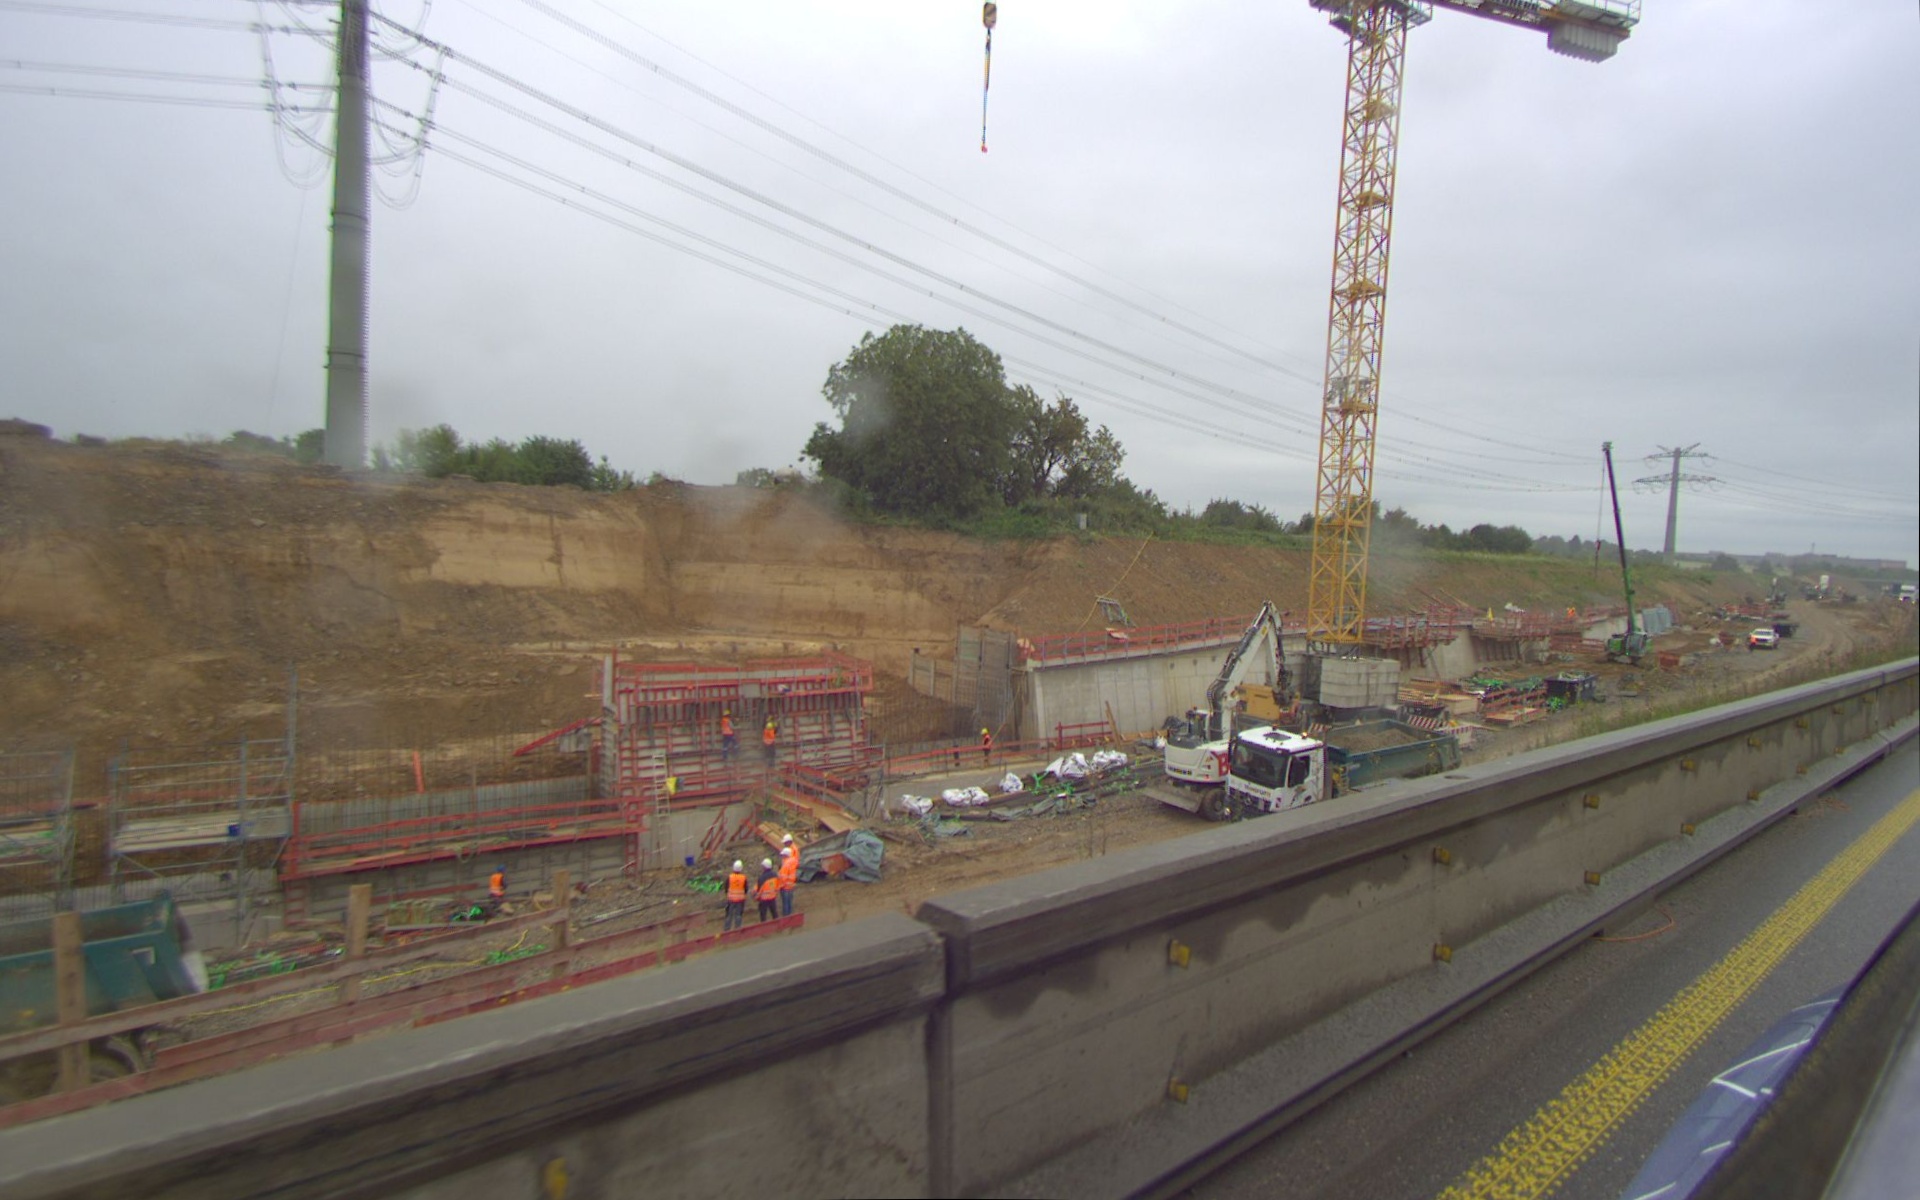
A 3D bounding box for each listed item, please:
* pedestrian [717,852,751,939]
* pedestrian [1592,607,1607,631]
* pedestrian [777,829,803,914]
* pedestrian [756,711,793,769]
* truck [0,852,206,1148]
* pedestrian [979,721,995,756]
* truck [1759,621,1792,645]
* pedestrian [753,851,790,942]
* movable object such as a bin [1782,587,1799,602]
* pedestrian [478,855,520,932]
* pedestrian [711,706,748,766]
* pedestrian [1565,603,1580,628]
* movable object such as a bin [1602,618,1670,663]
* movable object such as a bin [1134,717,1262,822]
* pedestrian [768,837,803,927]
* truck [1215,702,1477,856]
[{"bbox_3d":[-5.448,7.101,24.379,0.720,1.893,0.576,0,0,-4],"label":"pedestrian"},{"bbox_3d":[62.415,1.839,98.767,0.989,2.260,0.916,-2,-3,-41],"label":"pedestrian"},{"bbox_3d":[-4.366,6.968,26.060,0.564,1.968,0.736,0,0,-3],"label":"pedestrian"},{"bbox_3d":[-6.970,5.252,37.976,0.882,2.027,0.904,-1,-9,-36],"label":"pedestrian"},{"bbox_3d":[-17.033,6.604,15.366,8.896,3.534,2.738,-1,1,-36],"label":"truck"},{"bbox_3d":[1.171,6.001,43.946,0.392,1.455,0.424,-1,-8,-38],"label":"pedestrian"},{"bbox_3d":[76.576,3.097,94.963,1.763,1.894,5.693,3,3,45],"label":"truck"},{"bbox_3d":[-4.524,7.097,24.281,0.721,1.893,0.575,-1,1,-34],"label":"pedestrian"},{"bbox_3d":[155.962,-1.001,190.080,2.244,2.753,3.940,0,1,42],"label":"movable object such as a bin"},{"bbox_3d":[-13.772,8.740,30.223,0.889,2.027,0.897,-1,-9,-37],"label":"pedestrian"},{"bbox_3d":[-8.399,4.966,36.921,0.882,2.027,0.904,-1,-9,-36],"label":"pedestrian"},{"bbox_3d":[58.516,1.491,96.680,0.914,2.275,0.991,-6,-3,41],"label":"pedestrian"},{"bbox_3d":[54.602,3.235,81.720,3.794,2.836,4.783,2,7,44],"label":"movable object such as a bin"},{"bbox_3d":[8.091,5.673,34.491,2.917,2.772,3.155,-1,1,-40],"label":"movable object such as a bin"},{"bbox_3d":[-4.325,6.983,25.107,0.568,1.968,0.730,0,1,21],"label":"pedestrian"},{"bbox_3d":[12.289,5.388,31.879,8.768,3.547,2.711,-1,1,-29],"label":"truck"}]
